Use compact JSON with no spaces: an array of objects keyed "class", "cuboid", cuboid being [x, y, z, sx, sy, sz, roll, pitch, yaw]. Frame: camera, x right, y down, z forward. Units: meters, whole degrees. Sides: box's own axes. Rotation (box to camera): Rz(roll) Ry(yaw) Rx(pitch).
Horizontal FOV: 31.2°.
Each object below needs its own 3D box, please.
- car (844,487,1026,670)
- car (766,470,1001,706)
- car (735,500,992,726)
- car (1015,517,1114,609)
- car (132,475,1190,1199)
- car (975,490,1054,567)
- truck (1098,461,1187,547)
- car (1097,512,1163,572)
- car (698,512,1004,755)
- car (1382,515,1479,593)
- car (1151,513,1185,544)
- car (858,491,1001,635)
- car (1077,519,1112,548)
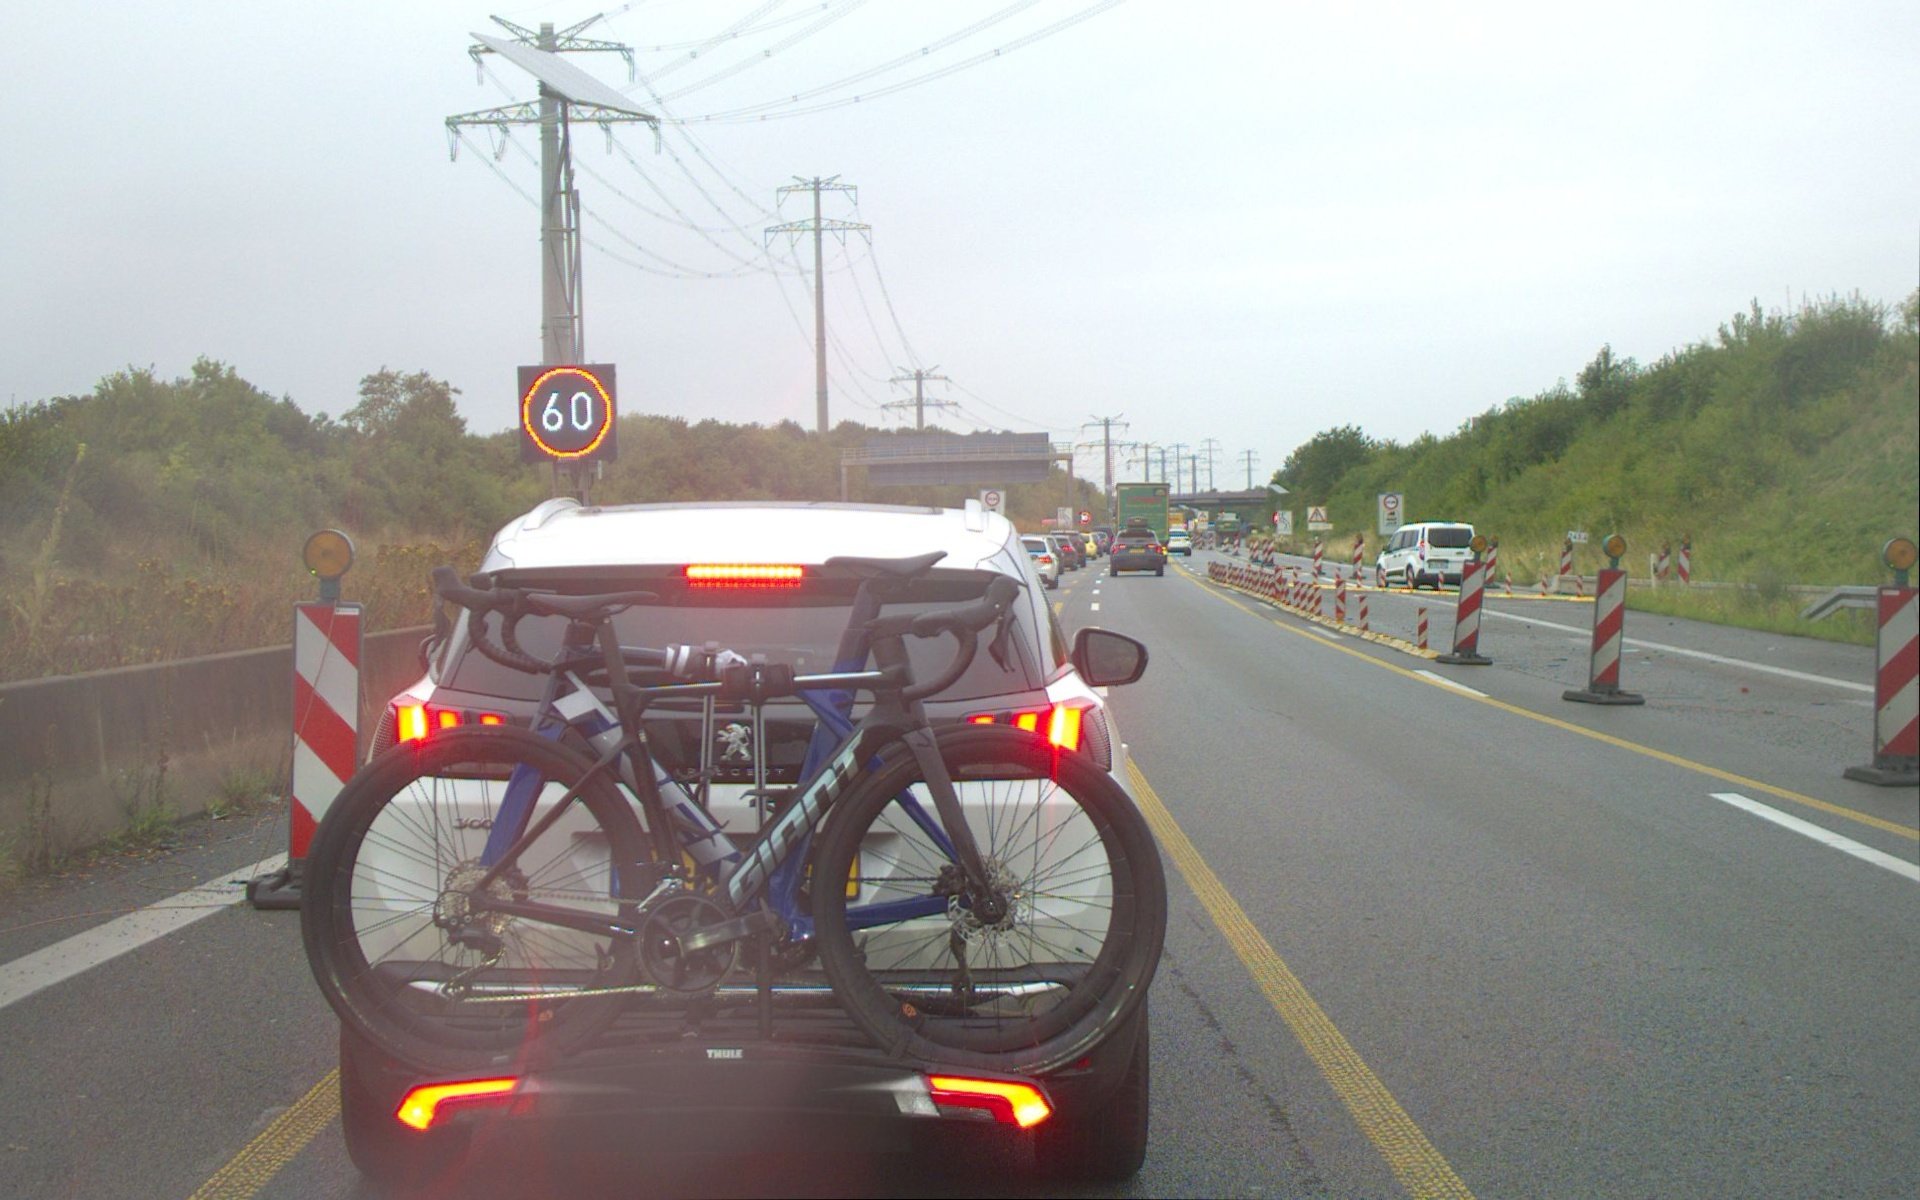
[{"class":"car","cuboid":[-0.301,-0.254,40.219,1.993,2.007,4.000,1,1,-1]},{"class":"car","cuboid":[-0.691,-0.152,31.918,1.993,2.007,4.000,-1,1,-1]},{"class":"car","cuboid":[-0.751,0.057,29.421,1.993,1.754,4.000,-1,1,1]},{"class":"car","cuboid":[2.408,-0.839,80.130,1.993,2.007,4.000,-1,-1,-2]},{"class":"car","cuboid":[-0.493,0.532,8.567,1.928,1.605,4.595,0,1,1]},{"class":"car","cuboid":[1.456,-1.953,93.707,1.993,2.007,4.000,-1,1,-1]},{"class":"truck","cuboid":[8.990,-4.841,170.867,3.731,3.809,11.871,1,3,0]},{"class":"car","cuboid":[5.876,-2.009,119.298,1.993,2.007,4.000,1,1,-1]},{"class":"car","cuboid":[-0.744,0.173,24.427,1.993,1.578,4.000,0,1,-1]},{"class":"car","cuboid":[12.678,-1.270,92.826,1.993,2.007,4.000,-1,1,-1]},{"class":"car","cuboid":[13.705,-4.748,226.712,1.993,2.007,4.000,0,1,-1]},{"class":"car","cuboid":[-0.459,-0.541,50.675,1.993,2.007,4.000,1,1,-1]},{"class":"car","cuboid":[8.398,-4.167,214.680,1.993,1.729,3.783,-1,1,-1]}]
